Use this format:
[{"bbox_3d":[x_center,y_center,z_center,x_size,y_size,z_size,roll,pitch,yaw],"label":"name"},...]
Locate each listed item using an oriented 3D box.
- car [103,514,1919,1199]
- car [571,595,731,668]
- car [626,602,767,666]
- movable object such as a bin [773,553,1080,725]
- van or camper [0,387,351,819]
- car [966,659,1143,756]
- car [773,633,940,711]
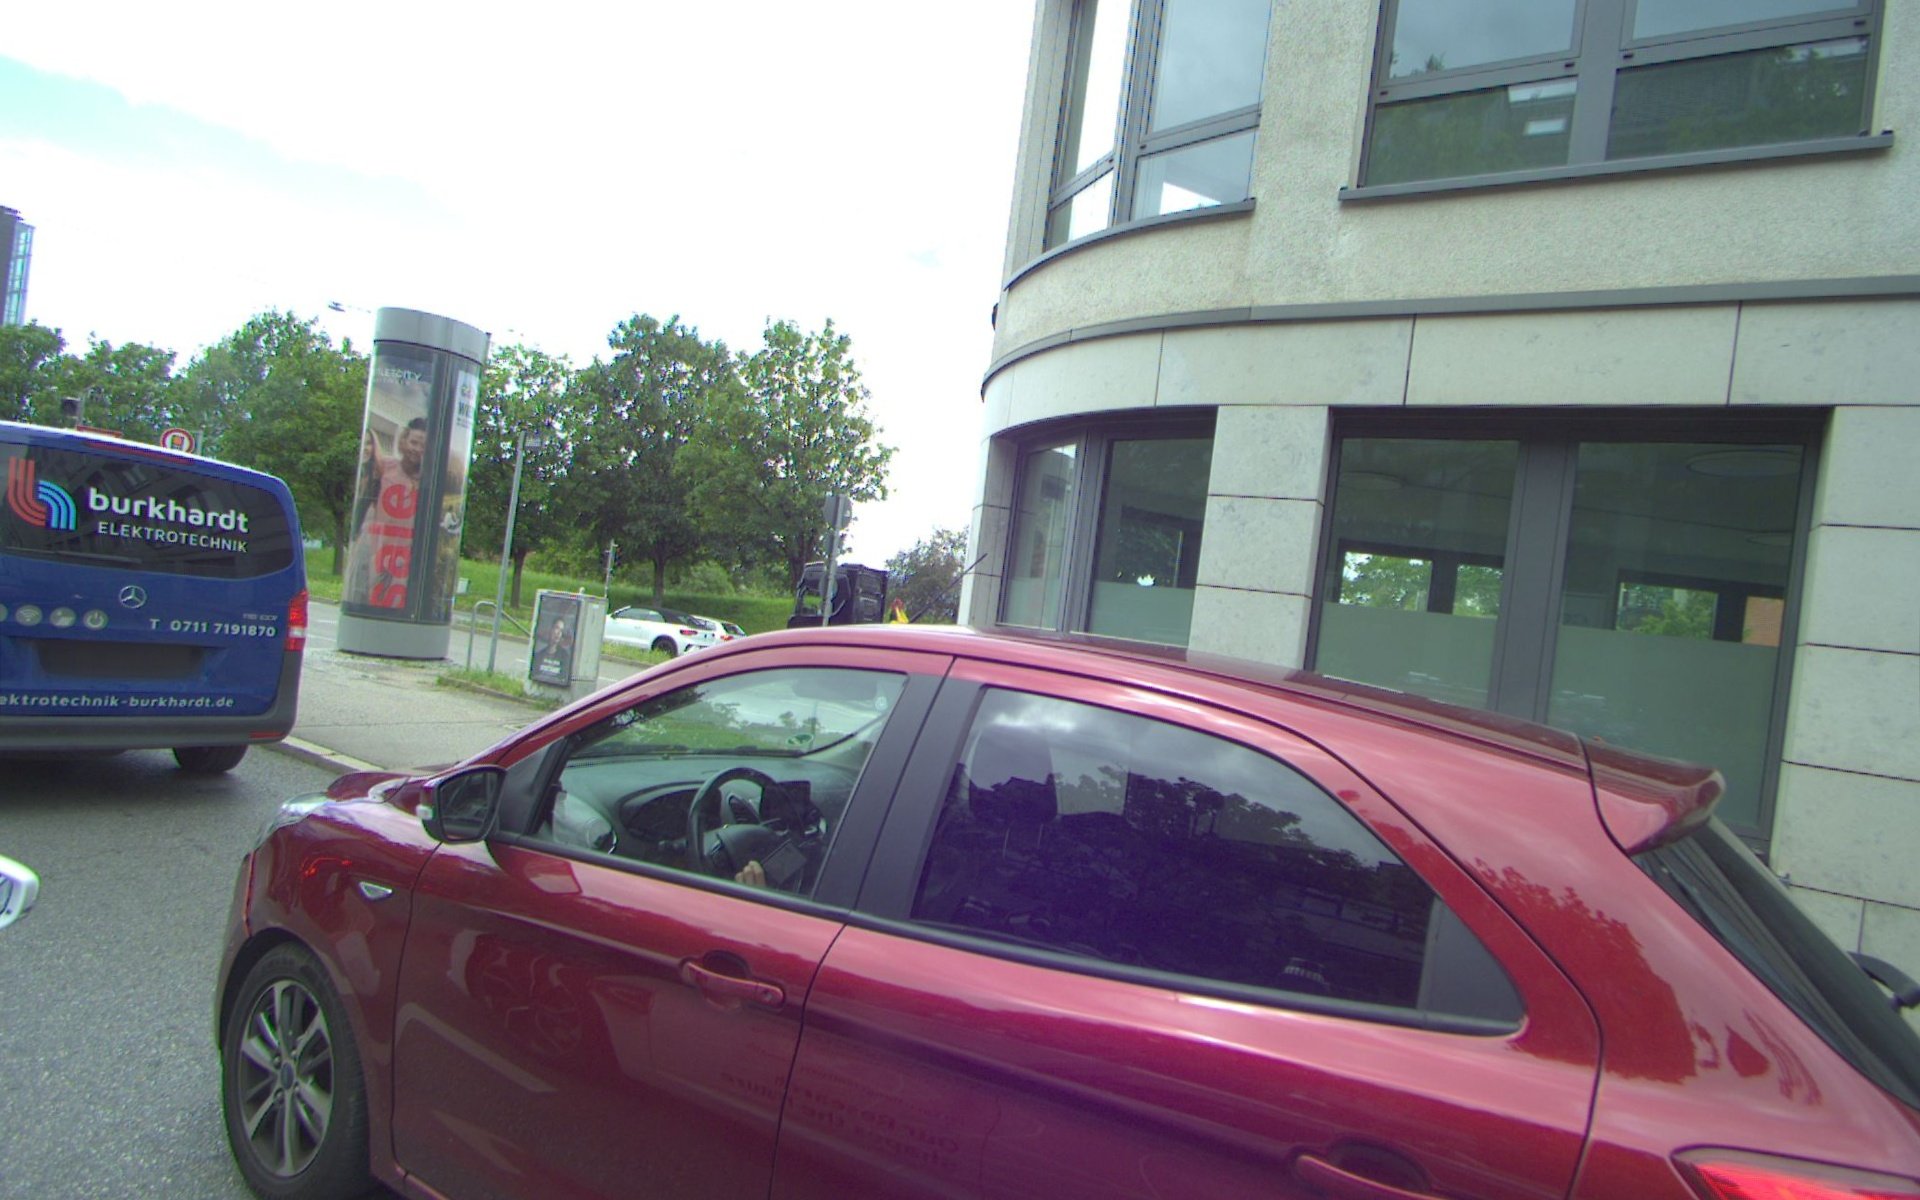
[{"bbox_3d":[-0.027,0.840,2.458,3.933,1.509,1.890,7,-3,32],"label":"car"},{"bbox_3d":[-9.098,0.949,29.715,3.925,1.469,2.003,8,-3,19],"label":"car"},{"bbox_3d":[-8.705,1.138,33.343,3.925,1.469,2.003,8,-3,19],"label":"car"},{"bbox_3d":[-0.998,1.107,30.304,8.410,3.949,2.870,7,-1,18],"label":"movable object such as a bin"},{"bbox_3d":[-6.134,-0.174,6.224,4.949,1.934,1.862,7,-1,32],"label":"van or camper"},{"bbox_3d":[2.416,2.683,25.451,3.925,1.723,2.003,8,-3,19],"label":"car"},{"bbox_3d":[-2.800,1.965,27.473,3.925,1.469,2.003,8,-3,19],"label":"car"}]
